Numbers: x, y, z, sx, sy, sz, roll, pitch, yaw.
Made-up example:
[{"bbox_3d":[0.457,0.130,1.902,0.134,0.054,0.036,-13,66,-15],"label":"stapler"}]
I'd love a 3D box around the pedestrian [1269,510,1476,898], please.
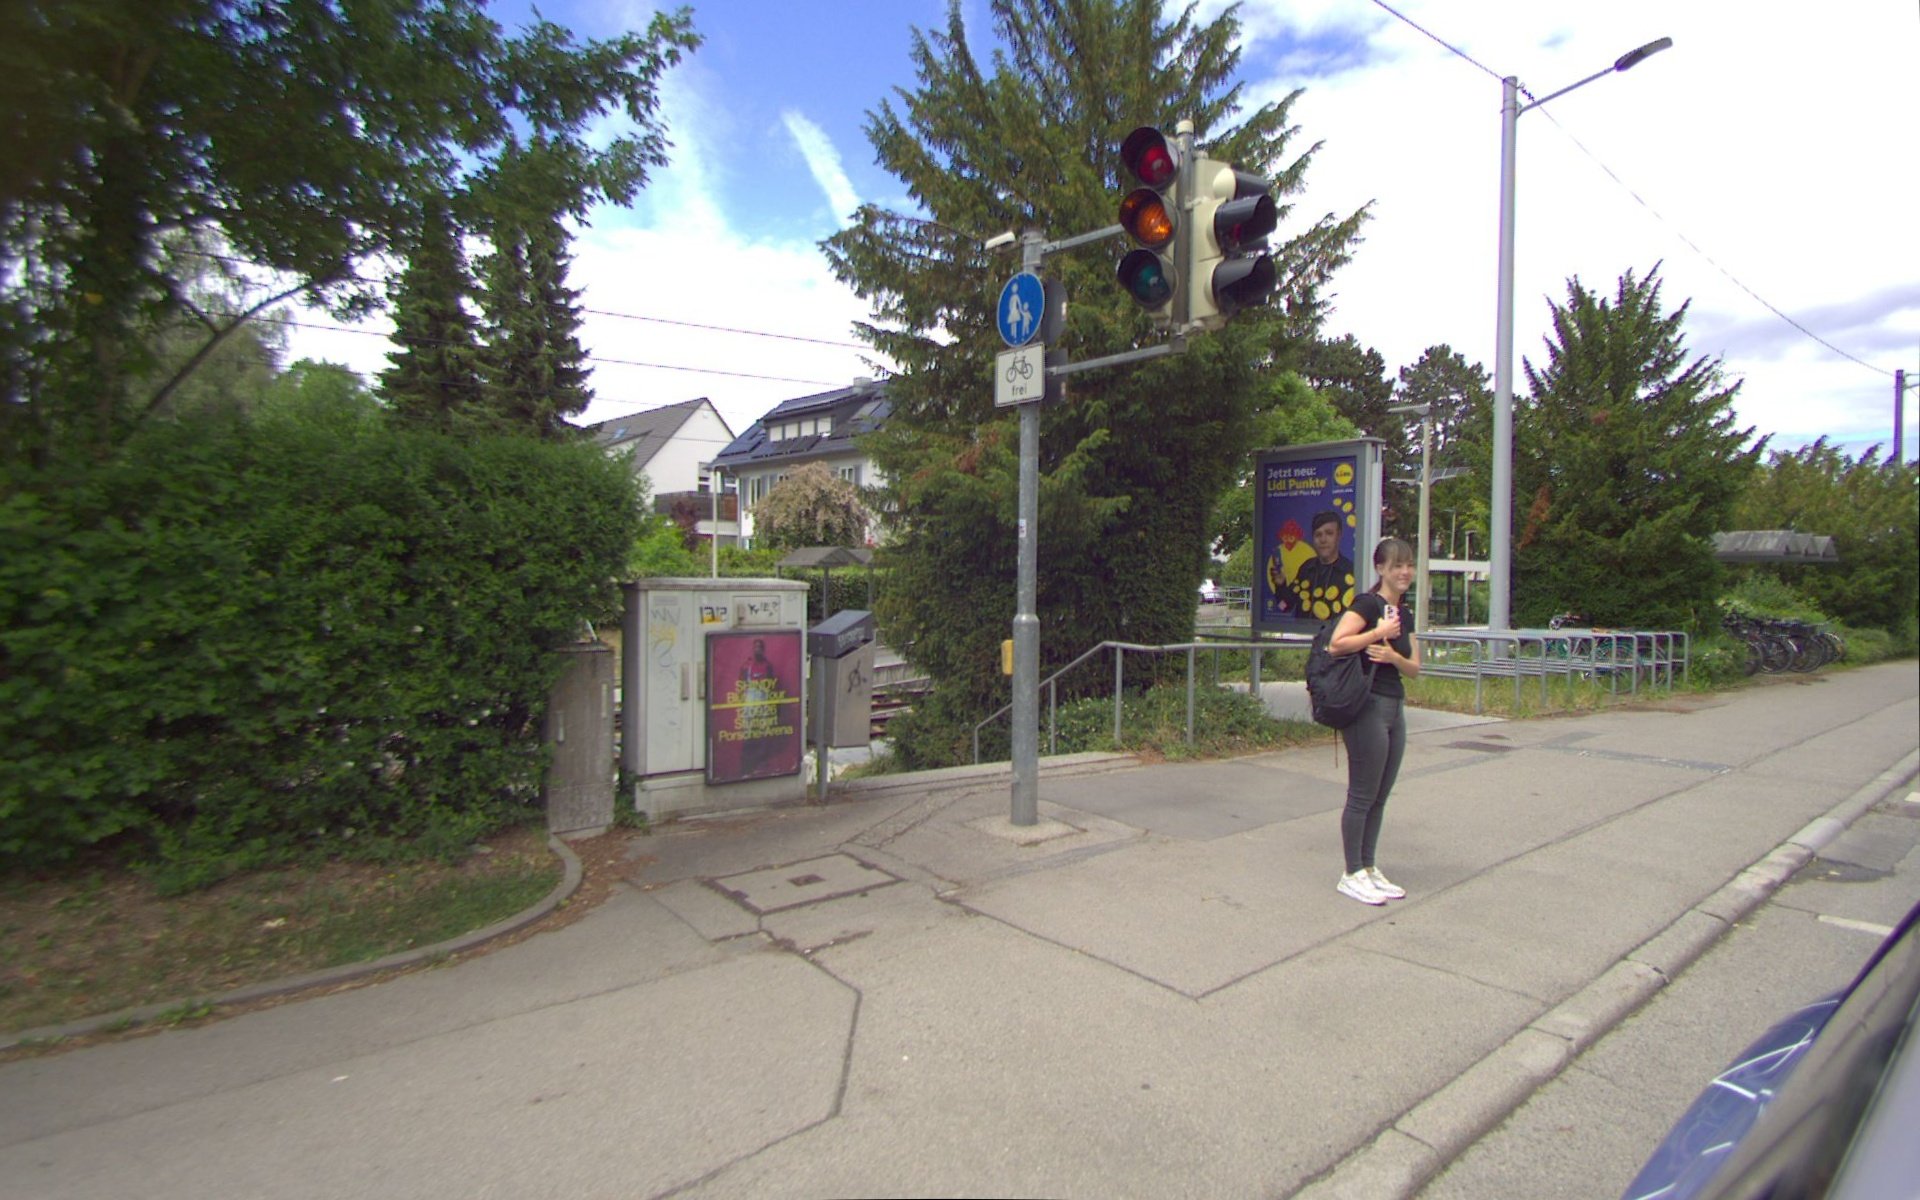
[{"bbox_3d":[1.979,0.447,4.873,0.695,1.685,0.649,0,0,-36],"label":"pedestrian"}]

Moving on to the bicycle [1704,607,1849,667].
[{"bbox_3d":[16.260,0.712,20.205,0.443,1.060,2.204,0,1,-41],"label":"bicycle"}]

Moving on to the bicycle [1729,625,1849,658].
[{"bbox_3d":[17.849,0.885,21.838,1.978,0.647,0.327,0,0,40],"label":"bicycle"}]

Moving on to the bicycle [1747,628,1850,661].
[{"bbox_3d":[17.786,0.936,21.500,1.674,0.647,0.327,0,0,40],"label":"bicycle"}]

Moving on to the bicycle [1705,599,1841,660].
[{"bbox_3d":[17.125,0.589,21.387,0.443,1.163,2.208,0,1,-34],"label":"bicycle"}]

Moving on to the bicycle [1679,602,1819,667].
[{"bbox_3d":[15.357,0.638,19.755,0.521,1.165,2.091,0,1,-42],"label":"bicycle"}]

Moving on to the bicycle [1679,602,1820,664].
[{"bbox_3d":[16.351,0.654,21.020,0.443,1.060,2.205,0,4,-41],"label":"bicycle"}]

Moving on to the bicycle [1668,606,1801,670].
[{"bbox_3d":[14.773,0.687,19.380,0.441,1.060,2.100,0,2,-19],"label":"bicycle"}]

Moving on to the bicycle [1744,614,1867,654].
[{"bbox_3d":[18.987,0.745,22.781,0.443,0.837,2.084,0,0,-34],"label":"bicycle"}]

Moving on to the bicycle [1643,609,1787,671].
[{"bbox_3d":[13.969,0.713,18.785,0.443,1.060,2.091,0,0,-42],"label":"bicycle"}]

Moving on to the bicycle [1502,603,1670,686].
[{"bbox_3d":[9.447,0.633,15.370,0.536,1.094,2.095,0,2,-37],"label":"bicycle"}]

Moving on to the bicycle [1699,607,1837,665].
[{"bbox_3d":[16.804,0.724,21.122,0.443,1.060,2.208,0,1,-34],"label":"bicycle"}]

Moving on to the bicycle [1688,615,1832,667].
[{"bbox_3d":[15.794,0.792,20.040,0.444,0.950,2.203,0,0,-42],"label":"bicycle"}]

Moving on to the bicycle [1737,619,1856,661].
[{"bbox_3d":[18.503,0.866,22.434,0.443,0.837,1.993,0,0,-40],"label":"bicycle"}]

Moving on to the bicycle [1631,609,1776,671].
[{"bbox_3d":[13.525,0.702,18.467,0.443,1.060,2.091,0,0,-42],"label":"bicycle"}]

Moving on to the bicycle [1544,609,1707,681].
[{"bbox_3d":[10.576,0.695,16.170,0.549,1.061,2.093,0,-1,-37],"label":"bicycle"}]

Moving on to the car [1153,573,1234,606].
[{"bbox_3d":[13.122,-0.560,57.013,3.980,1.650,1.971,-2,-2,40],"label":"car"}]
